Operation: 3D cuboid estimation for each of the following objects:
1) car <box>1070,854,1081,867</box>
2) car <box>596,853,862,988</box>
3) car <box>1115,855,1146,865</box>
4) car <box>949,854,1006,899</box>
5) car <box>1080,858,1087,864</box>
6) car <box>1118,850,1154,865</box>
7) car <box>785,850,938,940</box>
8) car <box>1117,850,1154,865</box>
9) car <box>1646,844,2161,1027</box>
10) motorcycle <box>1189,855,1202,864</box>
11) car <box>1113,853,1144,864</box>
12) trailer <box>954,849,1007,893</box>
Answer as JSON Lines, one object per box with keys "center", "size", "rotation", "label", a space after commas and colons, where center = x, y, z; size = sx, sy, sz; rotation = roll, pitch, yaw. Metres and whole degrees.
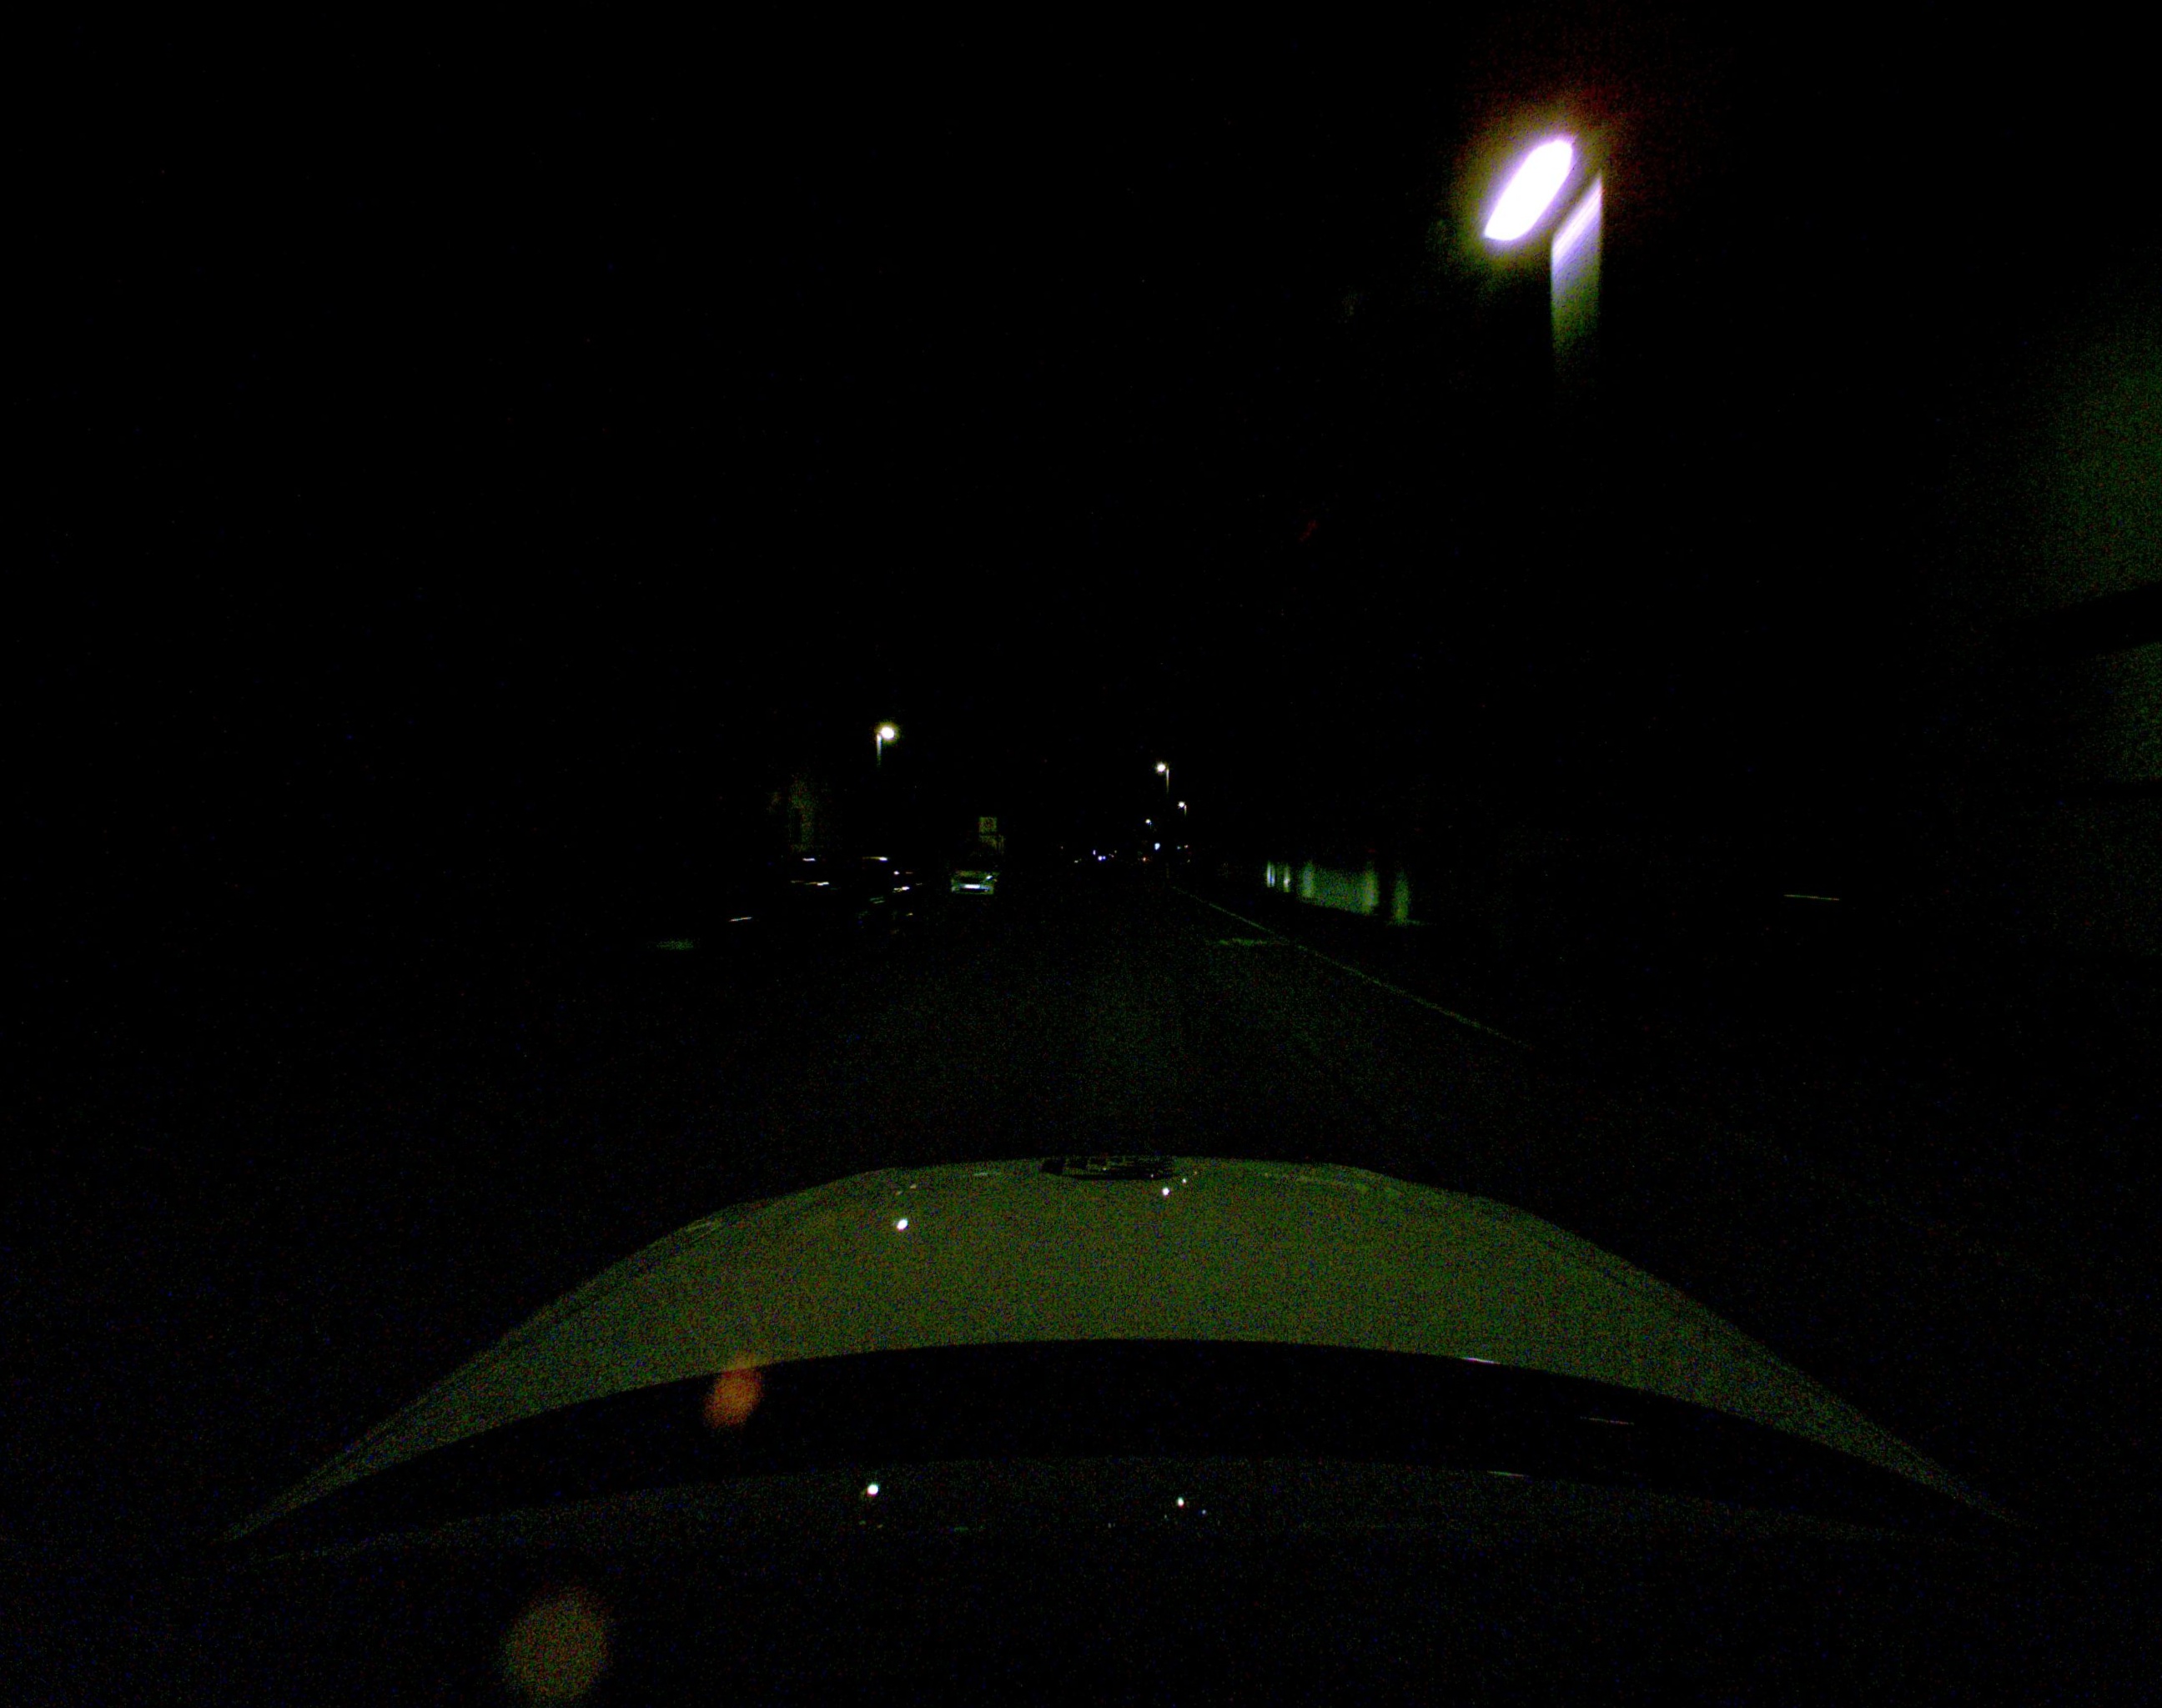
{"center": [-0.869, 1.107, 140.423], "size": [1.819, 1.986, 4.465], "rotation": [2, 0, 0], "label": "car"}
{"center": [-4.558, 0.757, 11.340], "size": [1.681, 1.510, 4.281], "rotation": [0, 0, 2], "label": "car"}
{"center": [8.451, 1.014, 138.559], "size": [5.166, 1.469, 2.101], "rotation": [-1, 0, 0], "label": "car"}
{"center": [-3.824, 0.805, 30.426], "size": [1.666, 1.522, 2.978], "rotation": [3, 0, 0], "label": "car"}
{"center": [0.561, 1.531, 189.505], "size": [1.677, 1.331, 3.599], "rotation": [0, 0, 0], "label": "car"}
{"center": [8.001, 0.550, 119.574], "size": [5.166, 2.013, 2.101], "rotation": [-1, 0, 0], "label": "car"}
{"center": [-4.221, 0.726, 16.406], "size": [1.760, 1.519, 4.280], "rotation": [1, 0, 2], "label": "car"}
{"center": [7.748, 0.541, 116.515], "size": [5.166, 2.013, 2.101], "rotation": [-1, 0, 0], "label": "car"}
{"center": [7.721, 0.678, 7.584], "size": [3.694, 1.473, 1.732], "rotation": [0, -1, 4], "label": "car"}
{"center": [17.189, 0.845, 122.311], "size": [1.060, 1.327, 2.722], "rotation": [0, 0, 25], "label": "motorcycle"}
{"center": [8.230, 0.794, 141.284], "size": [5.149, 1.887, 2.108], "rotation": [-1, 0, 10], "label": "car"}
{"center": [-4.090, 0.680, 33.662], "size": [1.441, 1.688, 3.430], "rotation": [3, 0, 4], "label": "trailer"}
